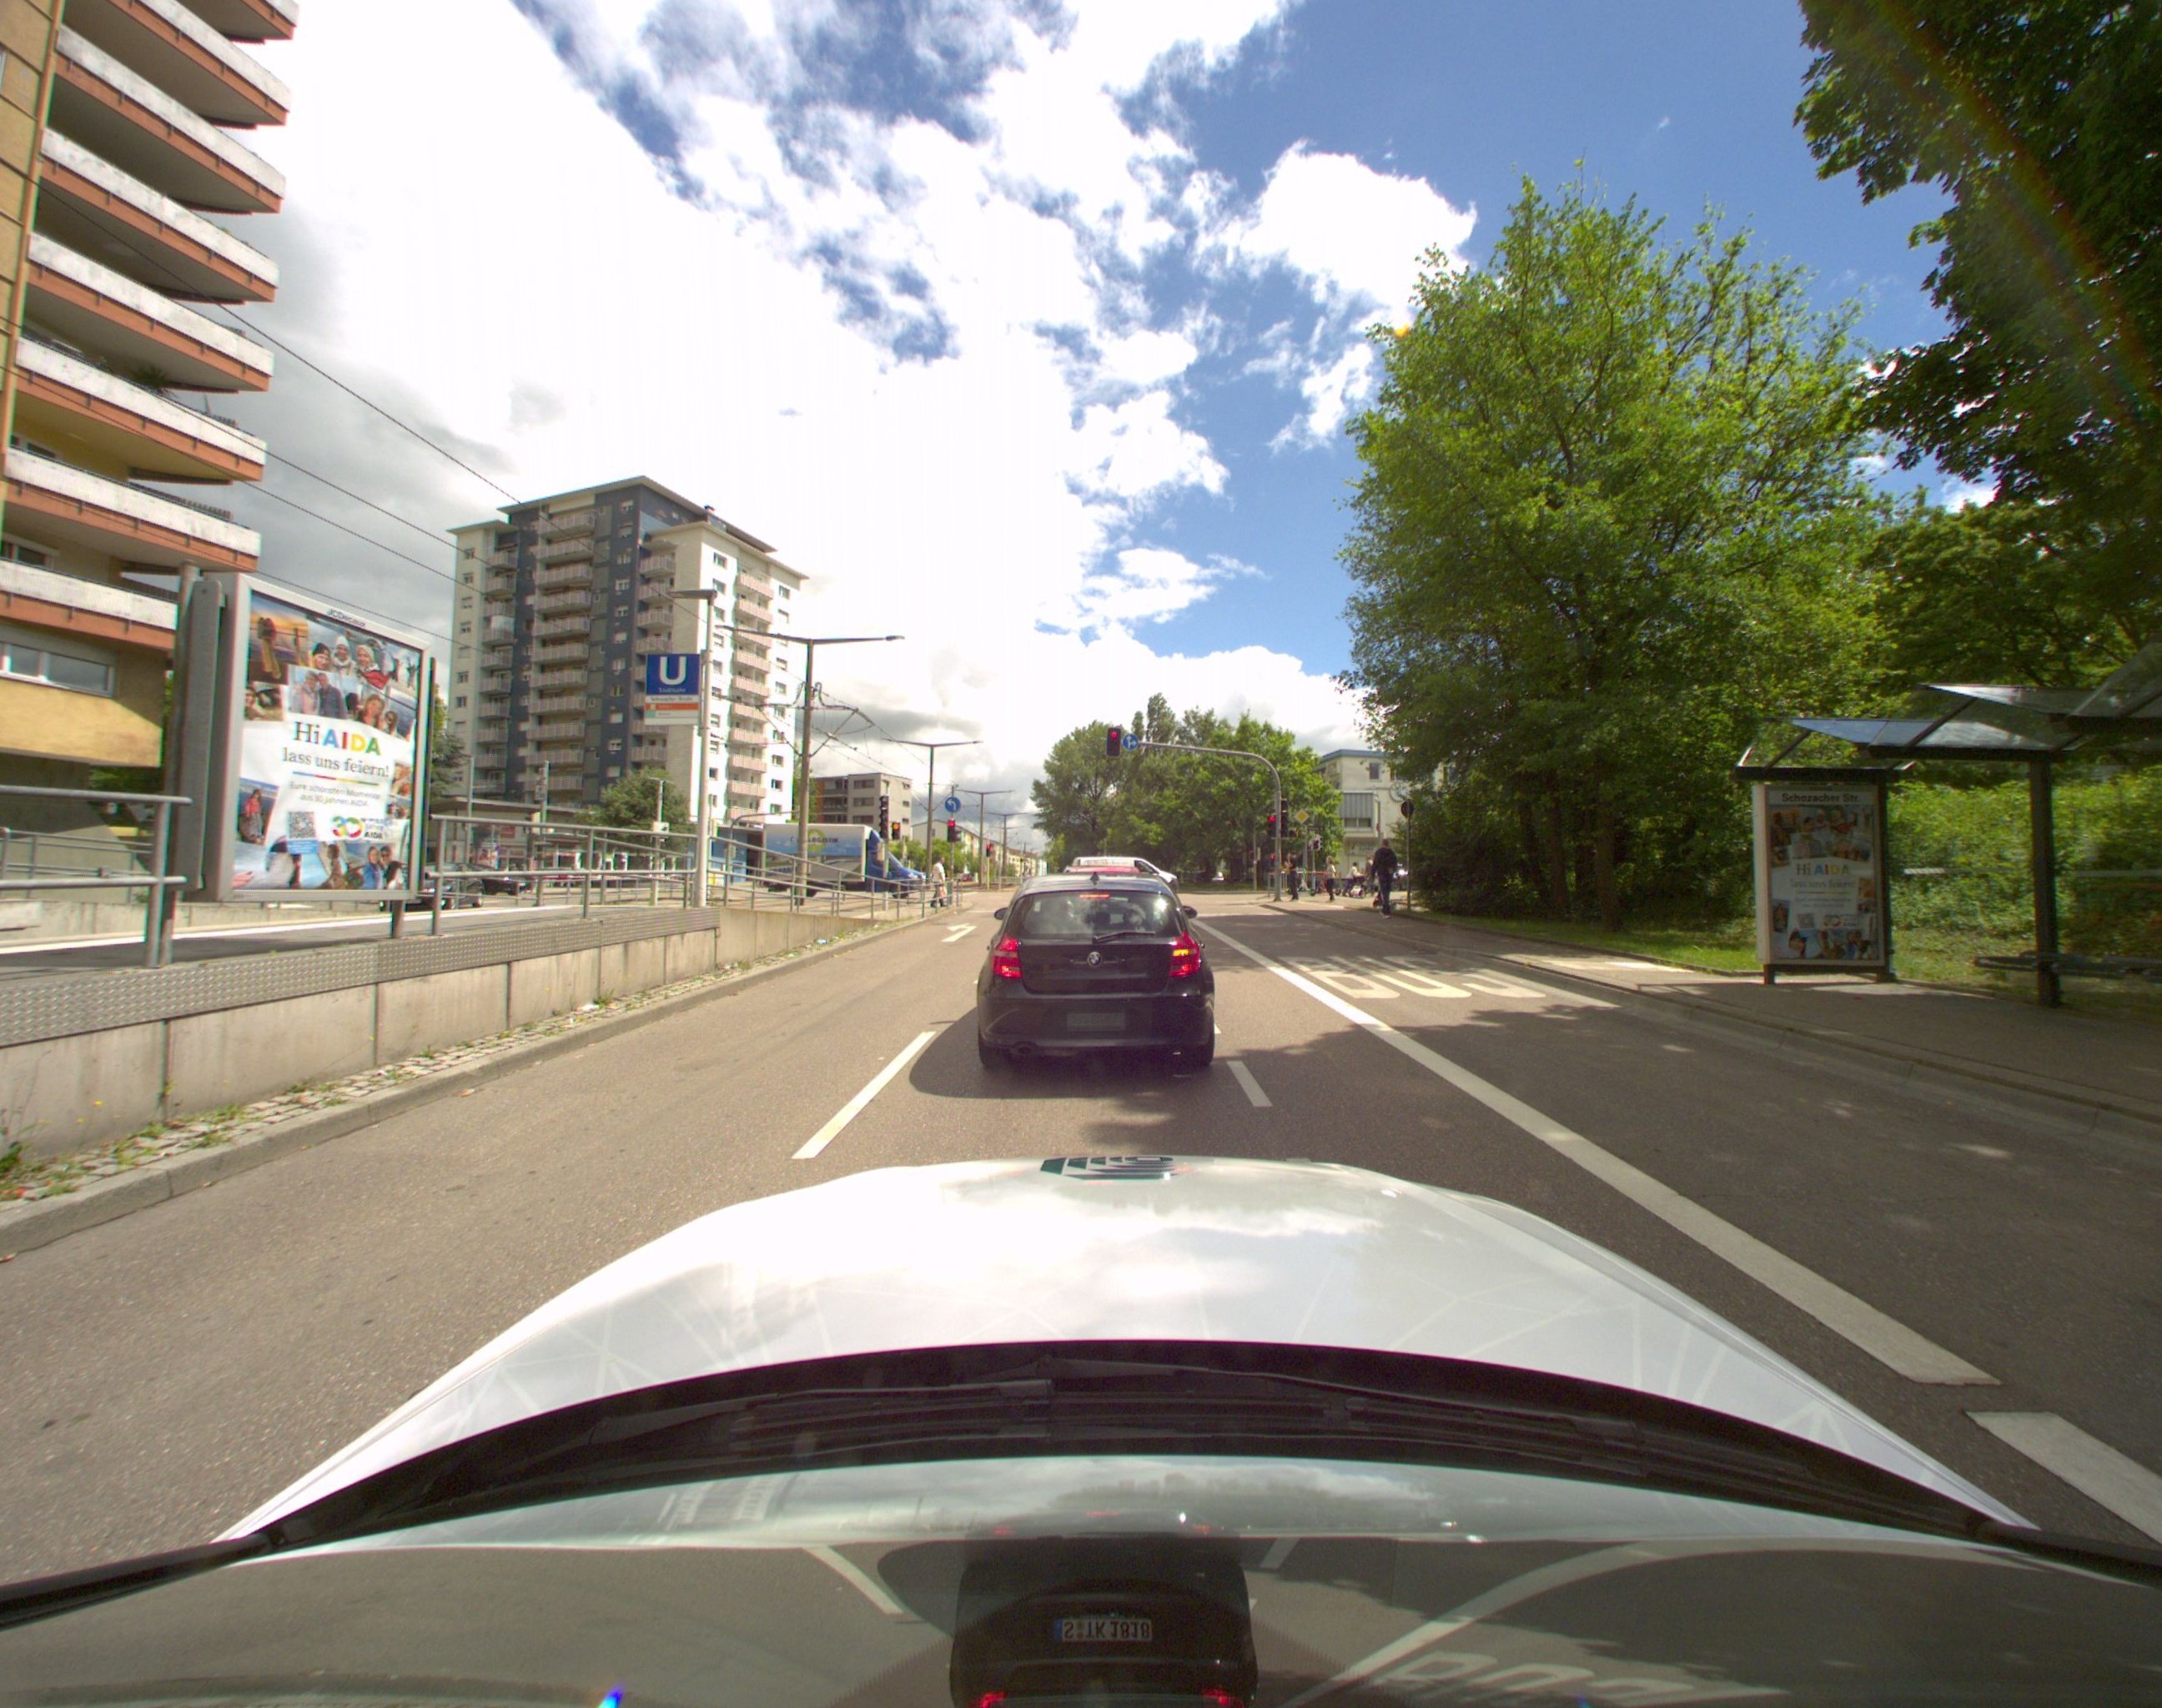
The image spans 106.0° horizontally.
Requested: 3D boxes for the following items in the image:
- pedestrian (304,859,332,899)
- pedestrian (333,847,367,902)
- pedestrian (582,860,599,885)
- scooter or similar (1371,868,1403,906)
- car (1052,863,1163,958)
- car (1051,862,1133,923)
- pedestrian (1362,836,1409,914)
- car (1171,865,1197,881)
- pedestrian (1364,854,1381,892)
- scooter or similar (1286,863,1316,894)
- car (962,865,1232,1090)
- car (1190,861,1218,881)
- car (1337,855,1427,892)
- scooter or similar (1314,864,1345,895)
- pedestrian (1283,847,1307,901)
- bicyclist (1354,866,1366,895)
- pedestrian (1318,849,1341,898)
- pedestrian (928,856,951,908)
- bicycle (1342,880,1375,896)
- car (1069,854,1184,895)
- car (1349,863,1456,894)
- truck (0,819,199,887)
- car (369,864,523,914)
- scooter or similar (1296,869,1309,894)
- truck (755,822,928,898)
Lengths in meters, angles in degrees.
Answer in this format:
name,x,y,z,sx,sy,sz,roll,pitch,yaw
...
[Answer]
name,x,y,z,sx,sy,sz,roll,pitch,yaw
pedestrian,-27.523,0.894,29.386,0.494,1.440,0.551,-1,-1,12
pedestrian,-24.096,0.660,26.850,0.650,1.776,0.667,-1,-1,30
pedestrian,-39.473,1.474,65.540,0.851,2.014,0.852,-1,-1,29
scooter or similar,10.679,1.155,28.432,0.886,1.230,0.455,4,-1,1
car,0.443,0.857,13.748,1.632,1.400,3.421,0,-1,2
car,0.332,0.921,21.225,1.893,1.422,4.540,0,-1,2
pedestrian,7.444,0.507,19.962,0.792,1.876,1.014,0,-1,3
car,11.424,2.087,90.570,1.862,1.662,3.987,0,-1,-9
pedestrian,13.338,0.859,37.305,0.651,1.713,0.464,-1,-1,27
scooter or similar,8.956,1.004,33.141,1.105,1.235,0.540,0,-1,4
car,0.152,0.801,6.847,1.694,1.400,3.421,0,-1,2
car,11.998,1.637,79.603,1.724,1.871,3.990,0,-1,-7
car,17.710,1.149,47.966,4.530,2.014,1.996,-1,-1,-6
scooter or similar,10.317,1.045,33.855,1.145,1.272,0.556,1,-1,4
pedestrian,7.566,0.708,28.792,0.636,1.876,0.516,0,-1,-9
bicyclist,11.606,1.094,33.839,0.395,1.156,0.505,2,0,23
pedestrian,9.140,0.706,29.943,0.636,1.766,0.516,0,-1,-9
pedestrian,-4.791,0.927,27.509,0.689,1.734,0.684,0,-1,-17
bicycle,11.470,1.406,33.690,0.533,0.610,1.582,0,-1,-15
car,2.117,0.957,38.685,5.168,1.893,1.994,0,-1,-9
car,16.530,1.246,41.996,4.784,1.522,1.996,0,-1,-6
truck,-34.577,-0.020,28.762,4.262,2.290,2.352,0,-1,2
car,-19.264,1.011,24.936,1.573,1.405,3.866,-1,-1,2
scooter or similar,9.479,1.160,34.807,0.543,1.064,1.267,0,-1,16
truck,-10.810,0.257,37.390,7.263,3.348,2.601,0,-1,-8
